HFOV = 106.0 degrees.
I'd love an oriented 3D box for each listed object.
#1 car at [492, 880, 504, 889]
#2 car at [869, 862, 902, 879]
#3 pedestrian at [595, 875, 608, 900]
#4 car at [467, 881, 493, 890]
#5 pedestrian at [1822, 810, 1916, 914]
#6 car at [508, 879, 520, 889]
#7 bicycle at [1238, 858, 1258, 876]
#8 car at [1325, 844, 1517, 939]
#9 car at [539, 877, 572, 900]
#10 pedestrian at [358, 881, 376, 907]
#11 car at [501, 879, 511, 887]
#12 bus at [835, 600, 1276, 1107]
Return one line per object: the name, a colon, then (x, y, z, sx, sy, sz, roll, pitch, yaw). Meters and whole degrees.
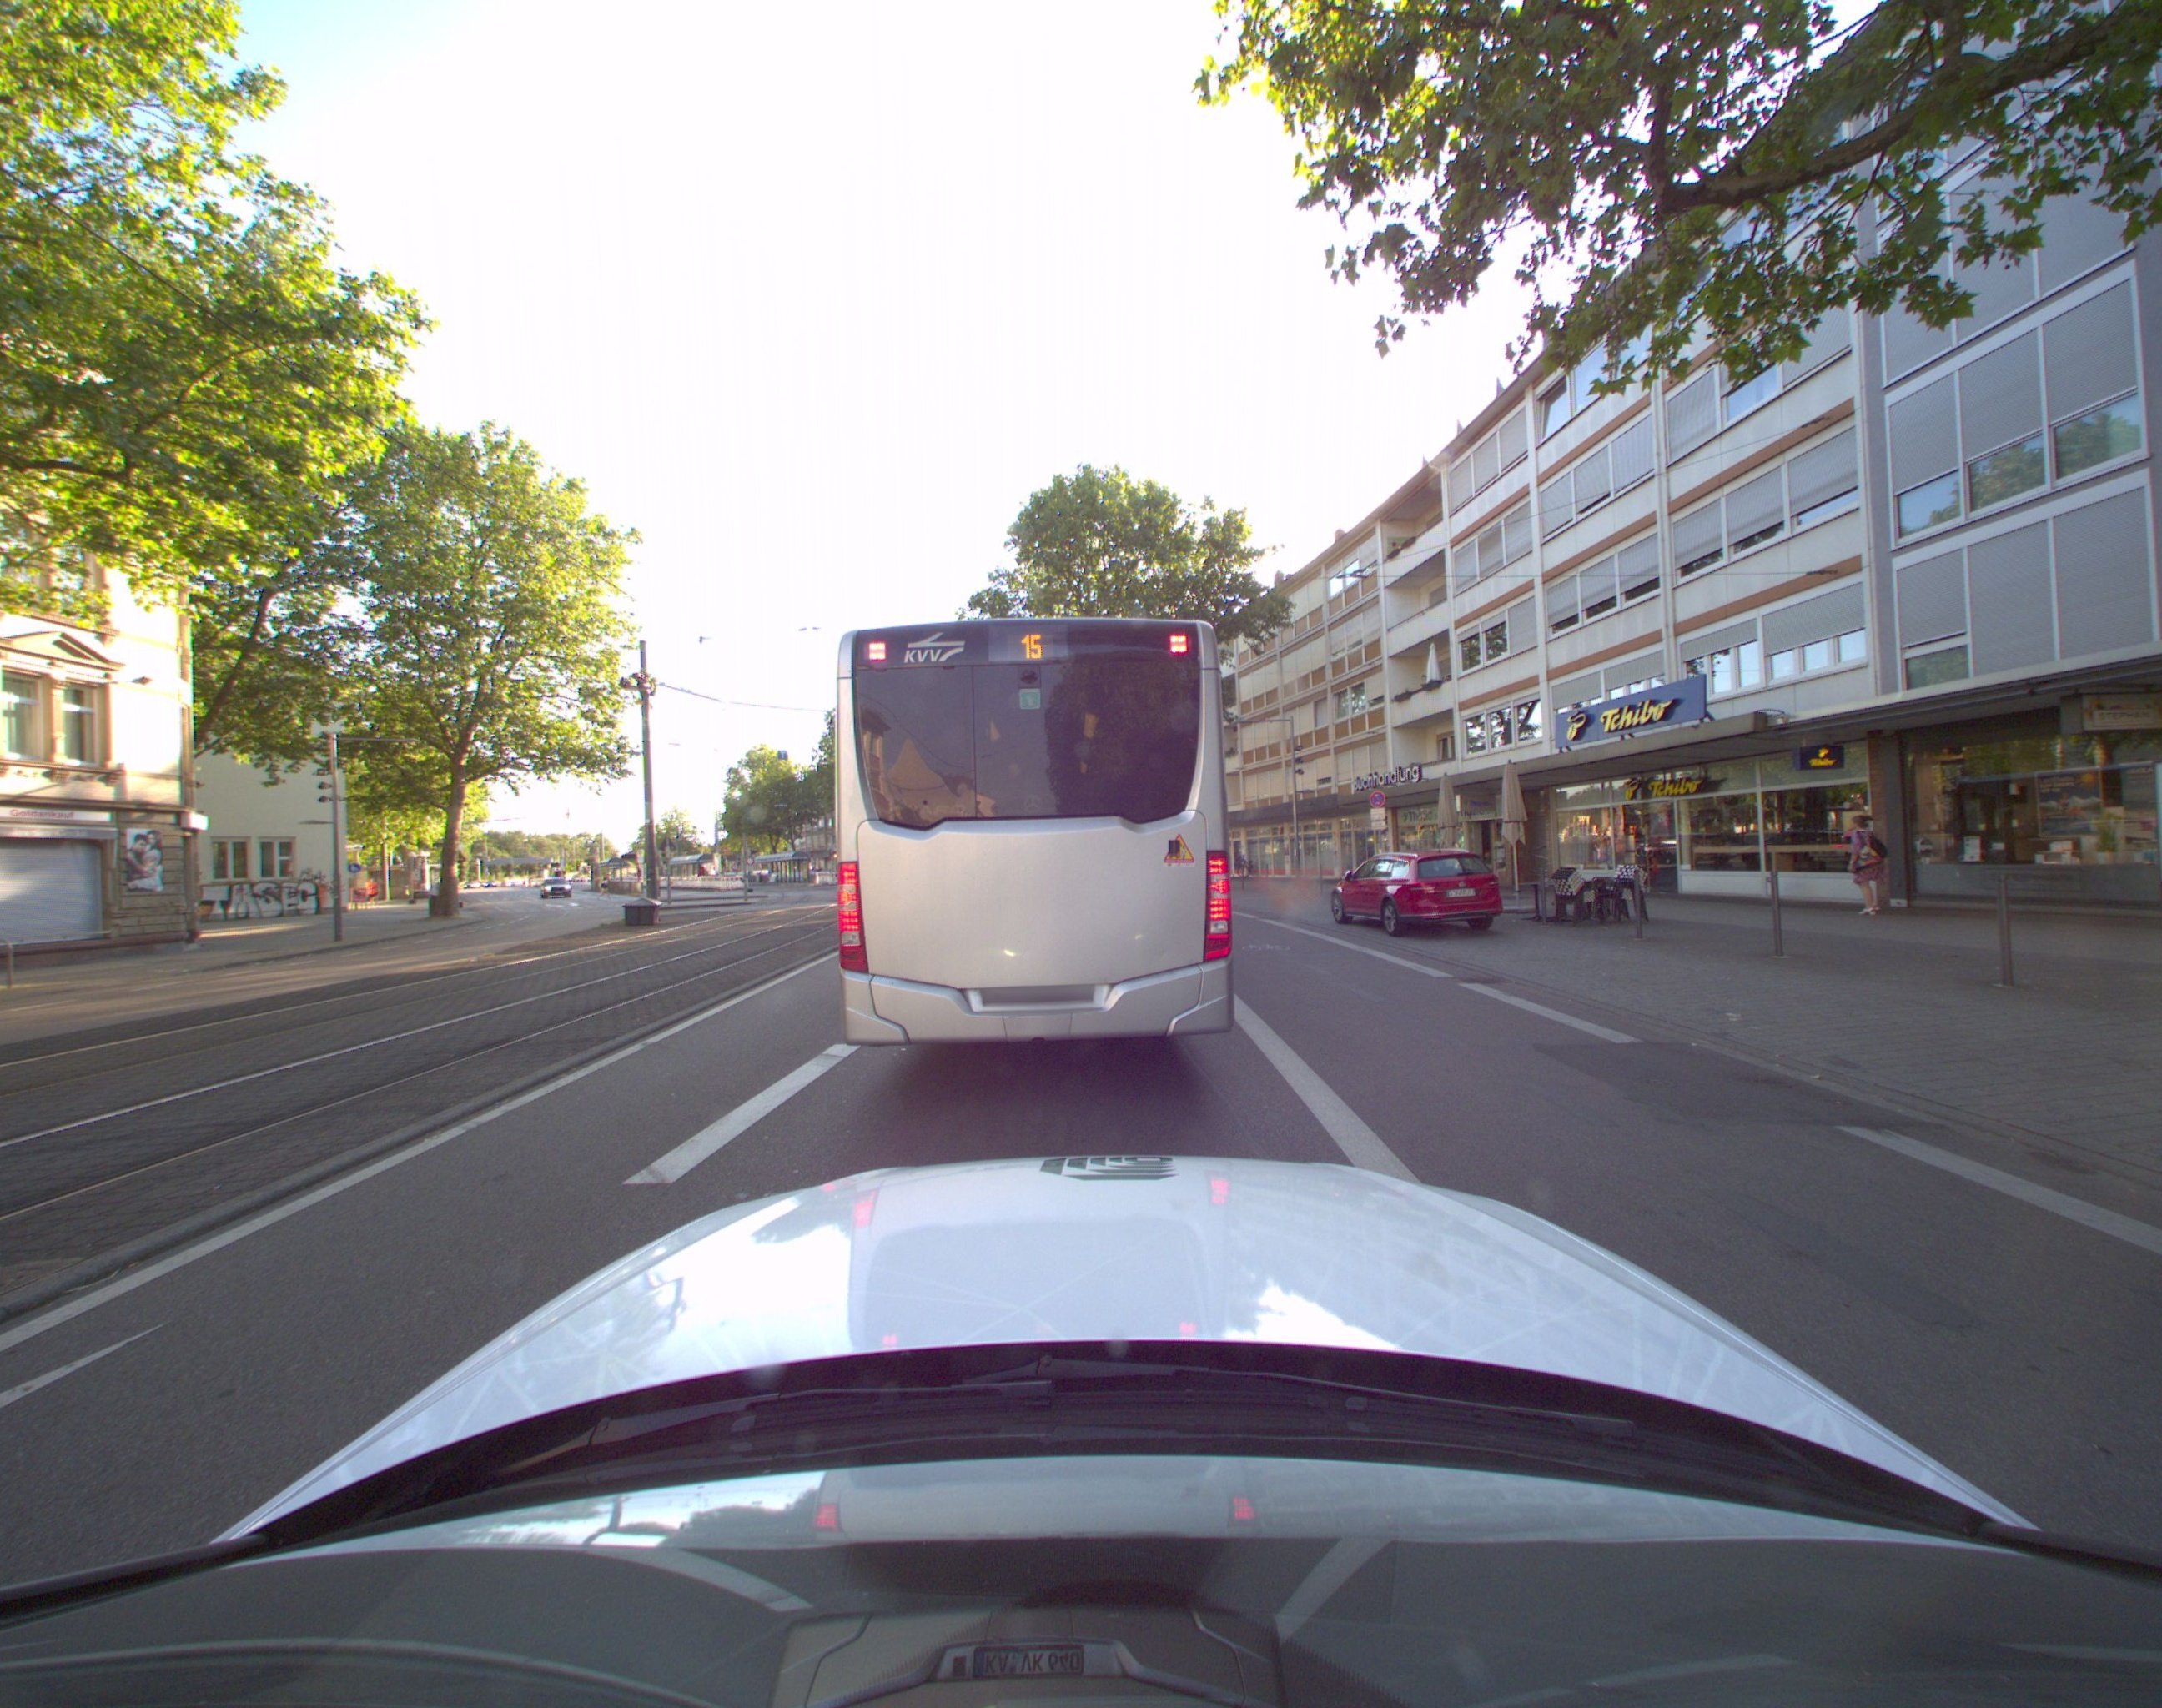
car: (-117.820, 6.102, 164.680, 1.858, 1.684, 3.676, -2, -1, -35)
car: (-21.336, 1.759, 88.589, 2.010, 1.792, 3.954, 0, -1, -39)
pedestrian: (-32.733, 2.287, 55.556, 0.661, 1.656, 0.438, -2, -1, -41)
car: (-122.659, 6.340, 166.143, 1.768, 1.640, 4.024, -3, -1, 44)
pedestrian: (12.780, 0.124, 13.235, 0.649, 1.592, 0.788, -4, -1, -4)
car: (-111.439, 5.913, 160.019, 1.858, 1.684, 3.677, -4, 1, -35)
bicycle: (9.312, 0.719, 45.530, 0.413, 0.945, 1.431, -2, -1, -18)
car: (6.365, 0.640, 15.843, 1.765, 1.482, 4.300, -3, 0, -2)
car: (-40.052, 2.617, 62.073, 2.008, 1.640, 3.958, -2, -1, -33)
pedestrian: (-42.517, 2.375, 48.517, 0.487, 1.513, 0.614, -3, 0, 25)
car: (-130.084, 6.490, 184.198, 1.858, 1.684, 3.676, -2, -1, -35)
bus: (-0.137, 0.017, 9.932, 2.622, 3.028, 9.995, -1, 0, 0)
